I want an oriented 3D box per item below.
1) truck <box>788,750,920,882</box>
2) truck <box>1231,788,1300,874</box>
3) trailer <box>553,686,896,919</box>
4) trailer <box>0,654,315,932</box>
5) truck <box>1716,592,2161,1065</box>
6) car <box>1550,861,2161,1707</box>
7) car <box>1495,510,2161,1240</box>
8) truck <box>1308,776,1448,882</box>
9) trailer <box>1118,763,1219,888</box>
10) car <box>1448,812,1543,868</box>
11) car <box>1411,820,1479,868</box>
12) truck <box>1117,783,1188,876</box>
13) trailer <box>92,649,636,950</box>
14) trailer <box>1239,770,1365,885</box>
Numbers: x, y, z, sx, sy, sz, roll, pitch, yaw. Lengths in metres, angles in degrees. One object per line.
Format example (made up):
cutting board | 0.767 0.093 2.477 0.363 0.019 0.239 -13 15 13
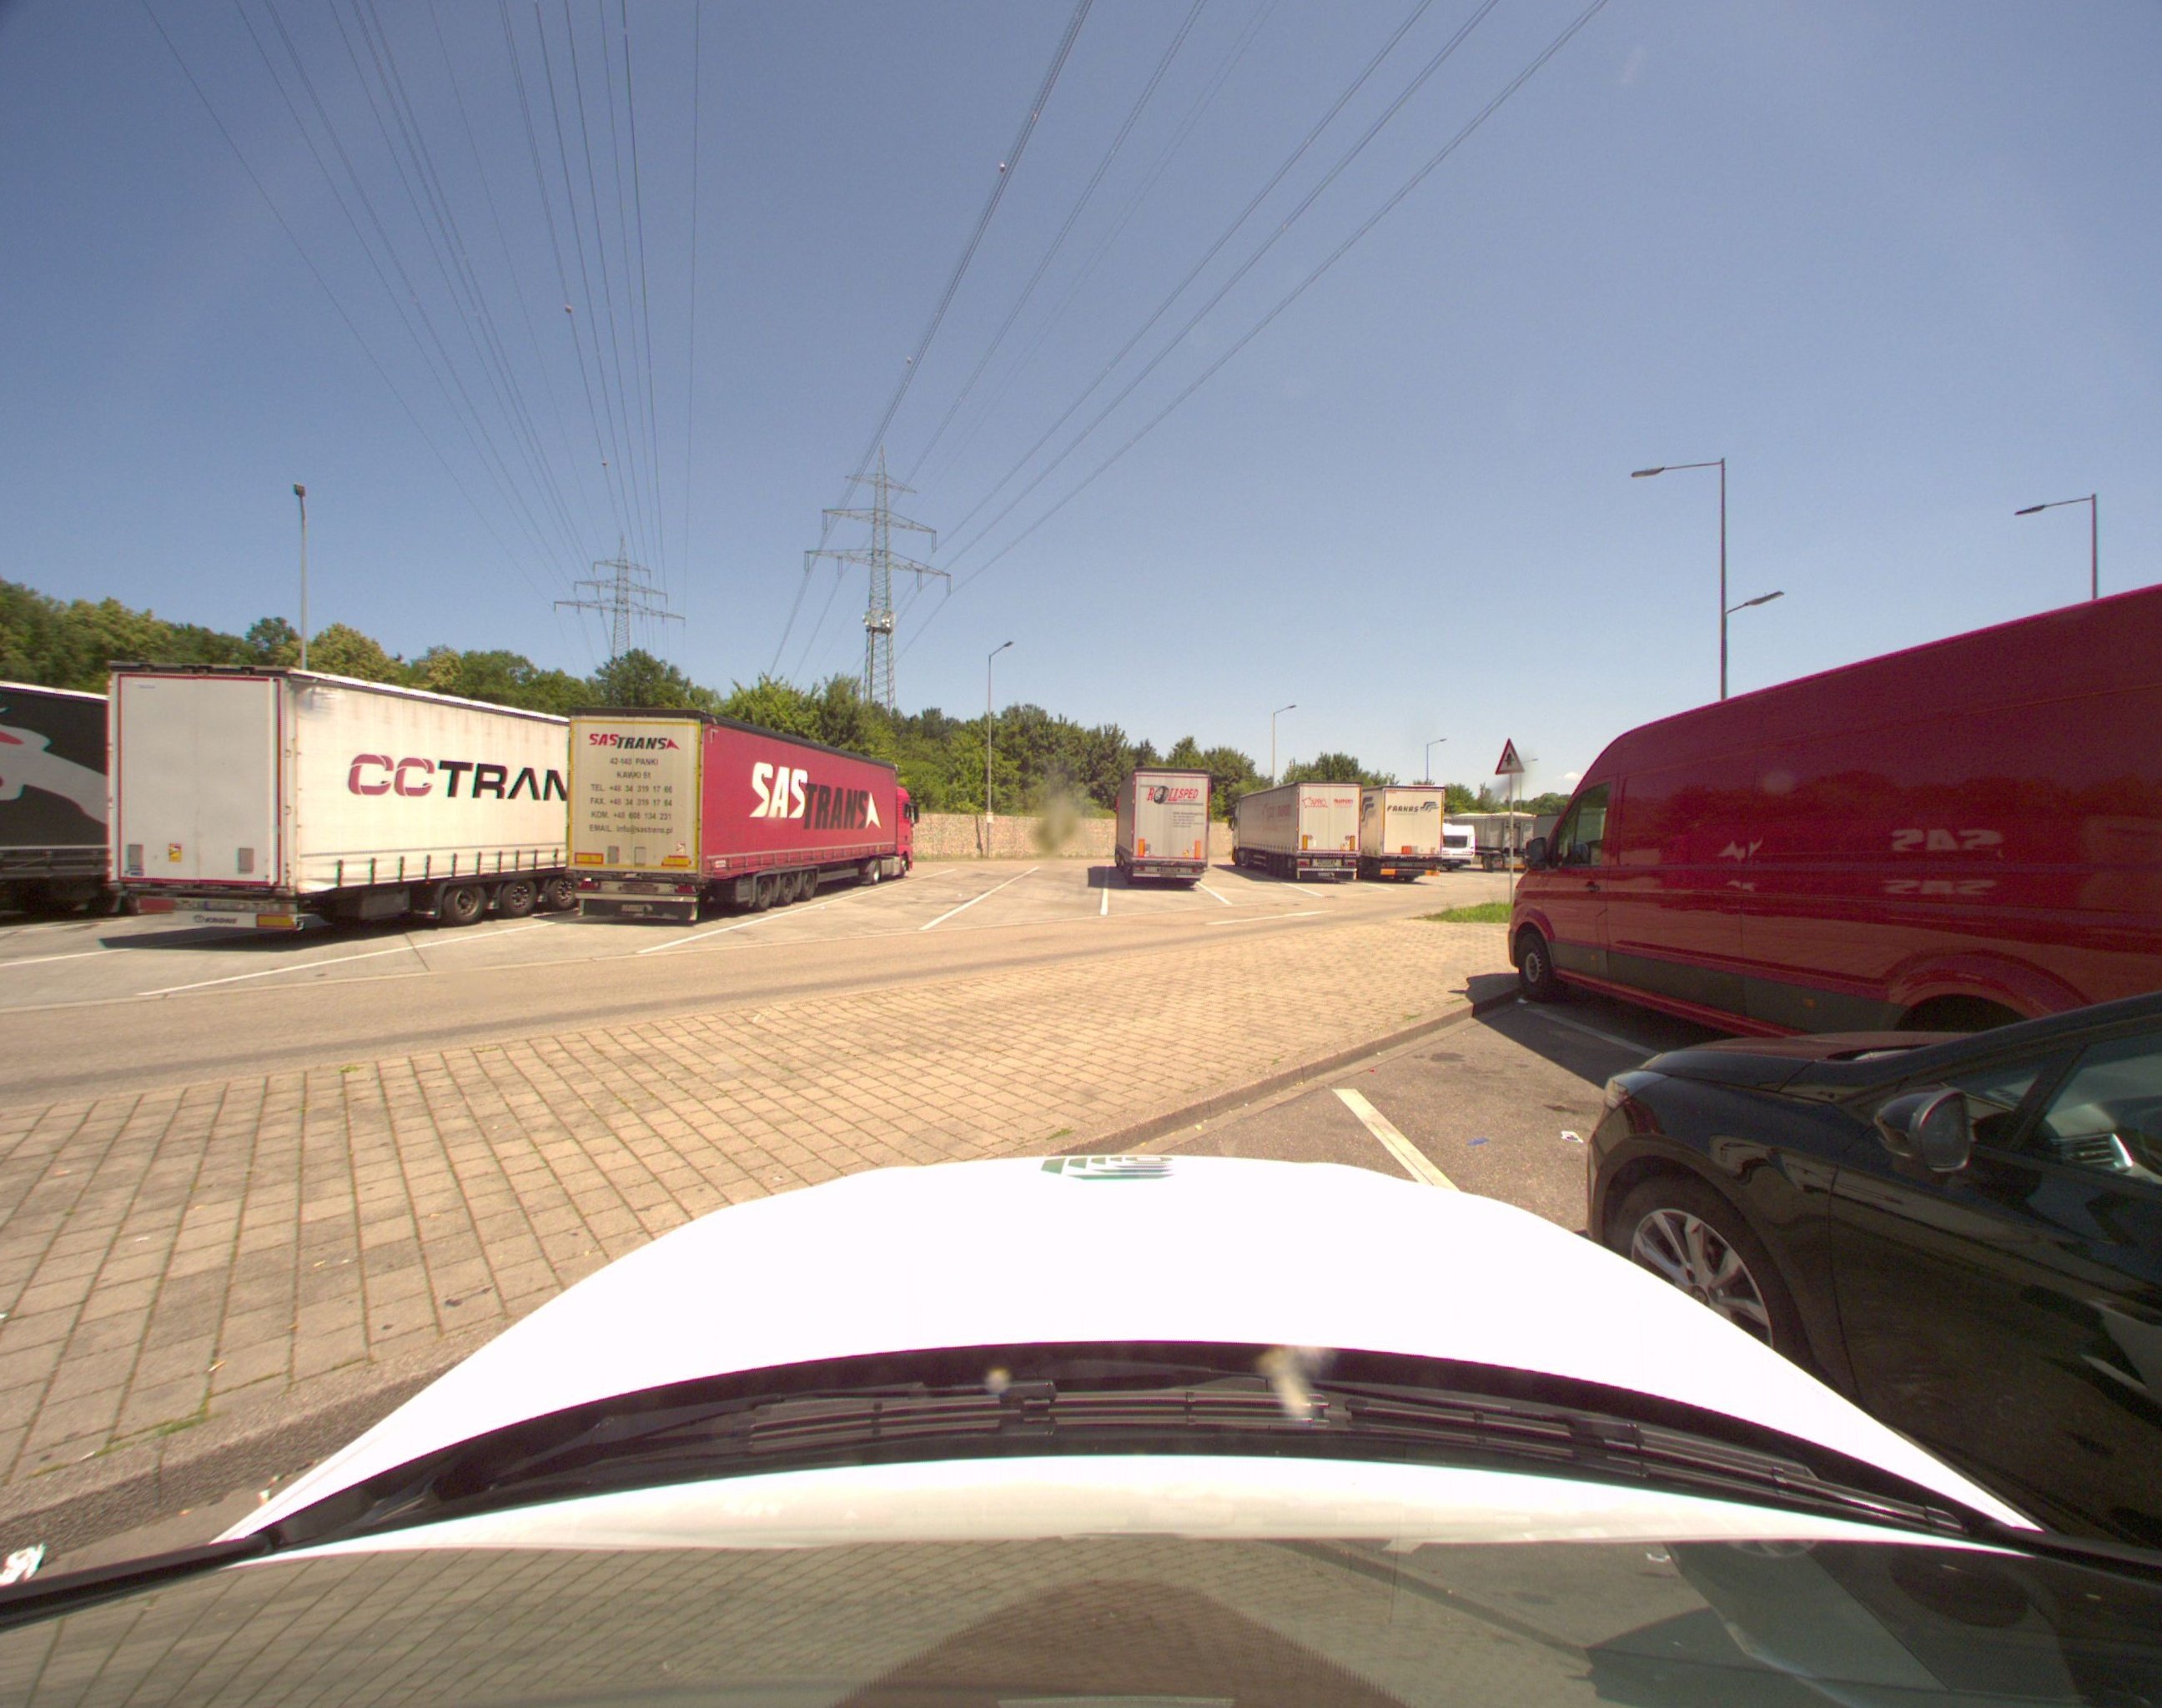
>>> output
truck | -7.757 -1.246 28.710 2.795 4.133 5.896 -1 1 2
truck | 10.067 -1.232 45.059 2.651 4.452 5.866 -1 1 2
trailer | -8.007 -1.027 21.454 2.789 4.219 13.208 -1 1 2
trailer | -18.555 -0.990 15.096 2.668 4.444 6.151 -1 1 2
truck | 7.792 -0.150 6.087 2.508 2.827 4.821 0 -1 3
car | 2.538 0.742 0.906 1.772 1.457 3.681 0 -1 -3
car | 5.149 0.031 5.525 1.984 2.633 6.393 -1 1 5
truck | 13.526 -0.940 38.535 2.577 4.226 11.974 0 -1 2
trailer | 3.109 -1.006 32.174 2.887 4.013 11.319 -1 1 1
car | 24.129 -0.820 47.752 2.490 3.074 6.353 -1 1 2
car | 20.531 -0.517 46.131 2.107 2.599 4.001 0 -1 2
truck | 3.187 -1.094 37.837 2.861 3.980 6.030 -1 1 1
trailer | -12.190 -0.814 15.419 2.744 4.152 8.291 0 1 2
trailer | 9.899 -1.115 38.221 2.672 4.452 12.833 -1 1 1
